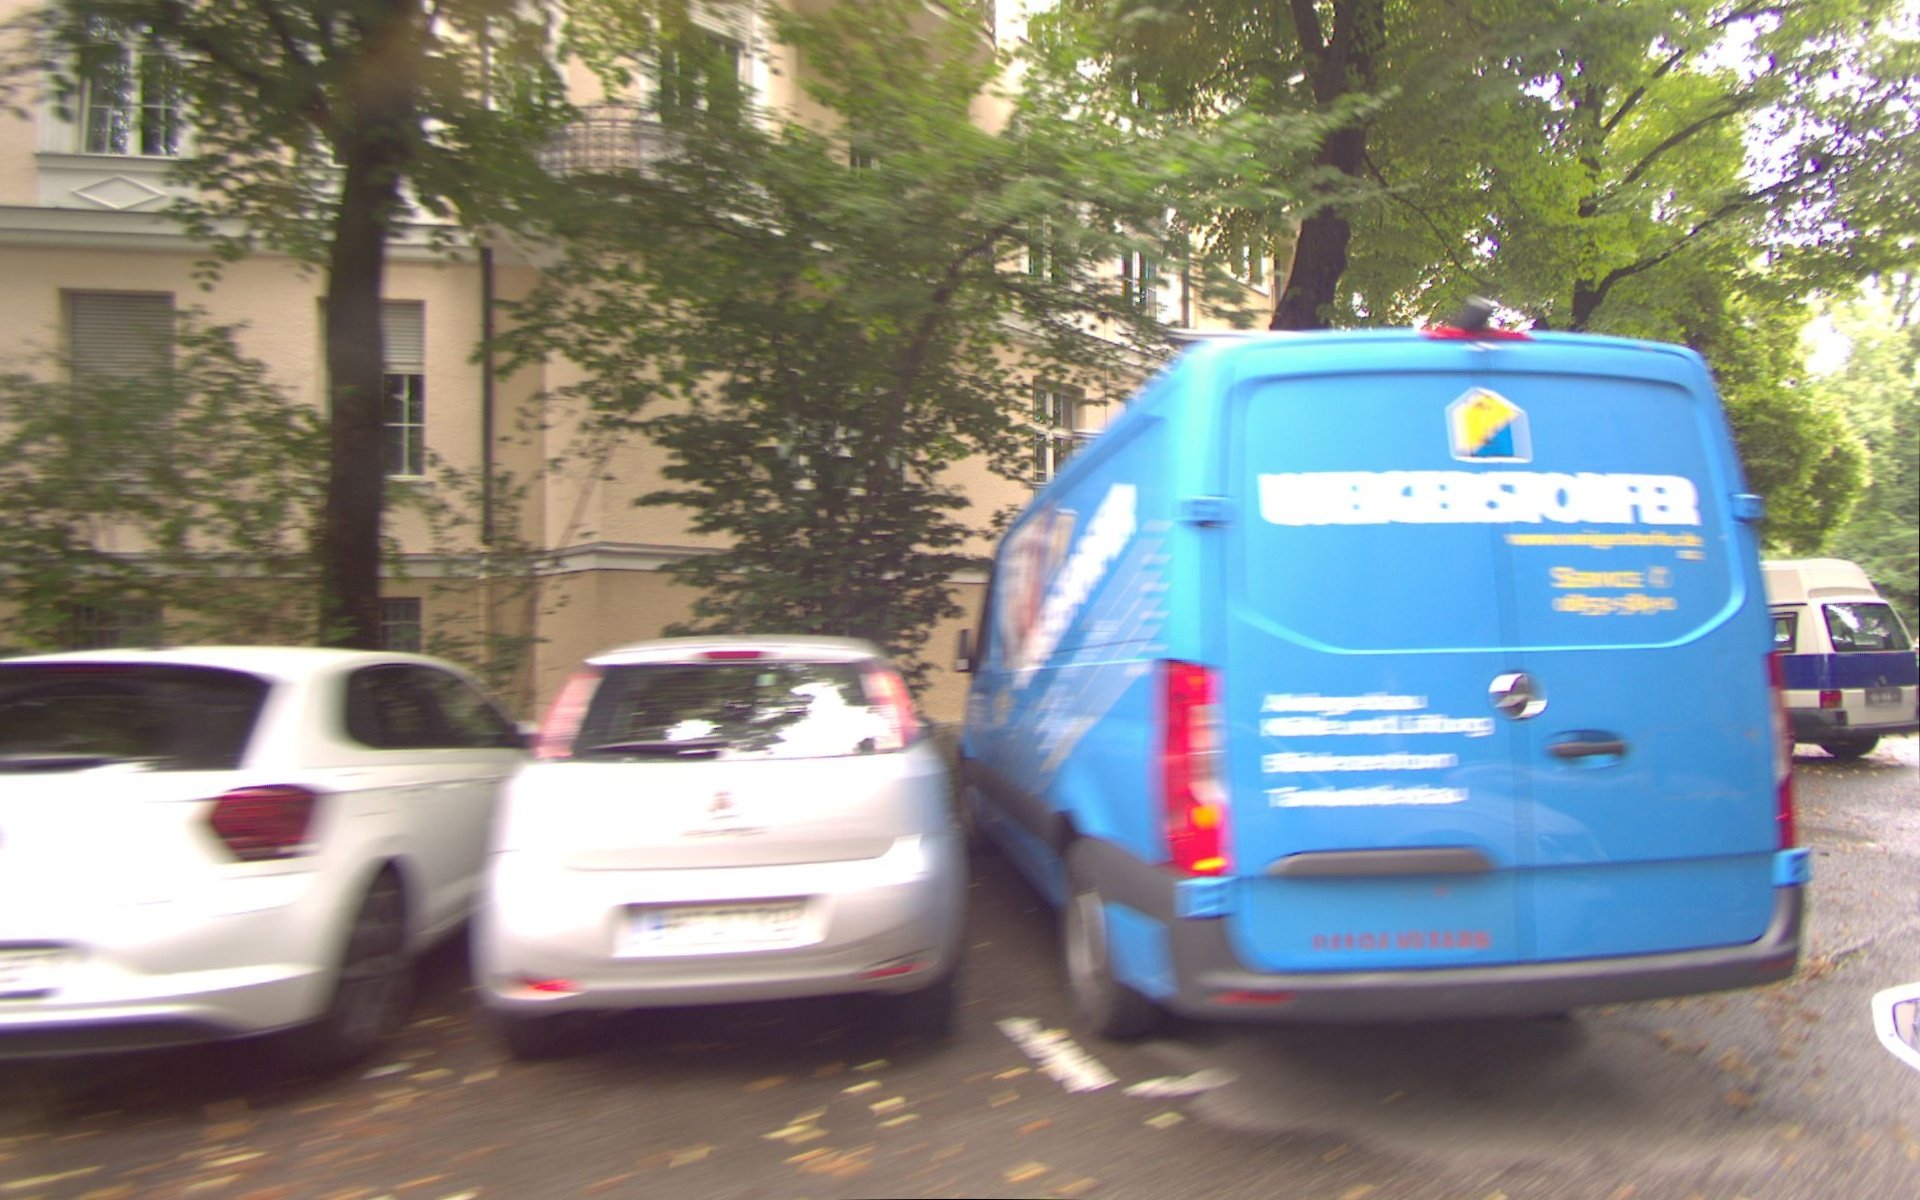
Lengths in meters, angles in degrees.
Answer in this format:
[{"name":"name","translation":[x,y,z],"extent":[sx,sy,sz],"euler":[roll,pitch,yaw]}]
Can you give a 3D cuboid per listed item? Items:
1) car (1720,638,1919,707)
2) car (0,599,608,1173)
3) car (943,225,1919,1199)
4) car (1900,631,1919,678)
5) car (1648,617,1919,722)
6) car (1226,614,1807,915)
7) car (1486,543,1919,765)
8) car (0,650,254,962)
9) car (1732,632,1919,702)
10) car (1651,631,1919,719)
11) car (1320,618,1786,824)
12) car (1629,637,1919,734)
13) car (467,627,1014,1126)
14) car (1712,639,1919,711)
[{"name":"car","translation":[20.782,1.683,23.993],"extent":[1.723,1.483,3.950],"euler":[1,-2,-43]},{"name":"car","translation":[-3.053,0.968,4.815],"extent":[1.770,1.532,4.283],"euler":[0,-5,-8]},{"name":"car","translation":[1.209,0.446,5.323],"extent":[2.027,2.384,5.492],"euler":[0,-4,-7]},{"name":"car","translation":[33.011,1.749,31.634],"extent":[1.825,1.515,4.767],"euler":[1,-2,-37]},{"name":"car","translation":[15.715,1.256,18.834],"extent":[1.833,1.754,4.279],"euler":[1,-3,-39]},{"name":"car","translation":[3.478,0.969,7.298],"extent":[1.781,1.556,3.999],"euler":[0,-3,-4]},{"name":"car","translation":[9.646,0.710,13.391],"extent":[1.876,2.408,4.564],"euler":[1,-3,-20]},{"name":"car","translation":[-5.375,0.974,4.685],"extent":[1.799,1.443,3.748],"euler":[0,-5,-7]},{"name":"car","translation":[22.522,1.674,25.729],"extent":[1.723,1.622,4.124],"euler":[-1,-2,-43]},{"name":"car","translation":[17.373,1.477,21.078],"extent":[1.819,1.617,4.415],"euler":[1,-2,-37]},{"name":"car","translation":[5.415,1.051,9.851],"extent":[1.784,1.581,3.860],"euler":[1,-3,-12]},{"name":"car","translation":[13.977,1.385,17.147],"extent":[1.723,1.452,3.950],"euler":[2,-3,-43]},{"name":"car","translation":[-0.837,0.911,4.815],"extent":[1.613,1.451,3.551],"euler":[0,-3,-7]},{"name":"car","translation":[19.190,1.619,22.240],"extent":[1.729,1.460,3.842],"euler":[2,-3,-44]}]
